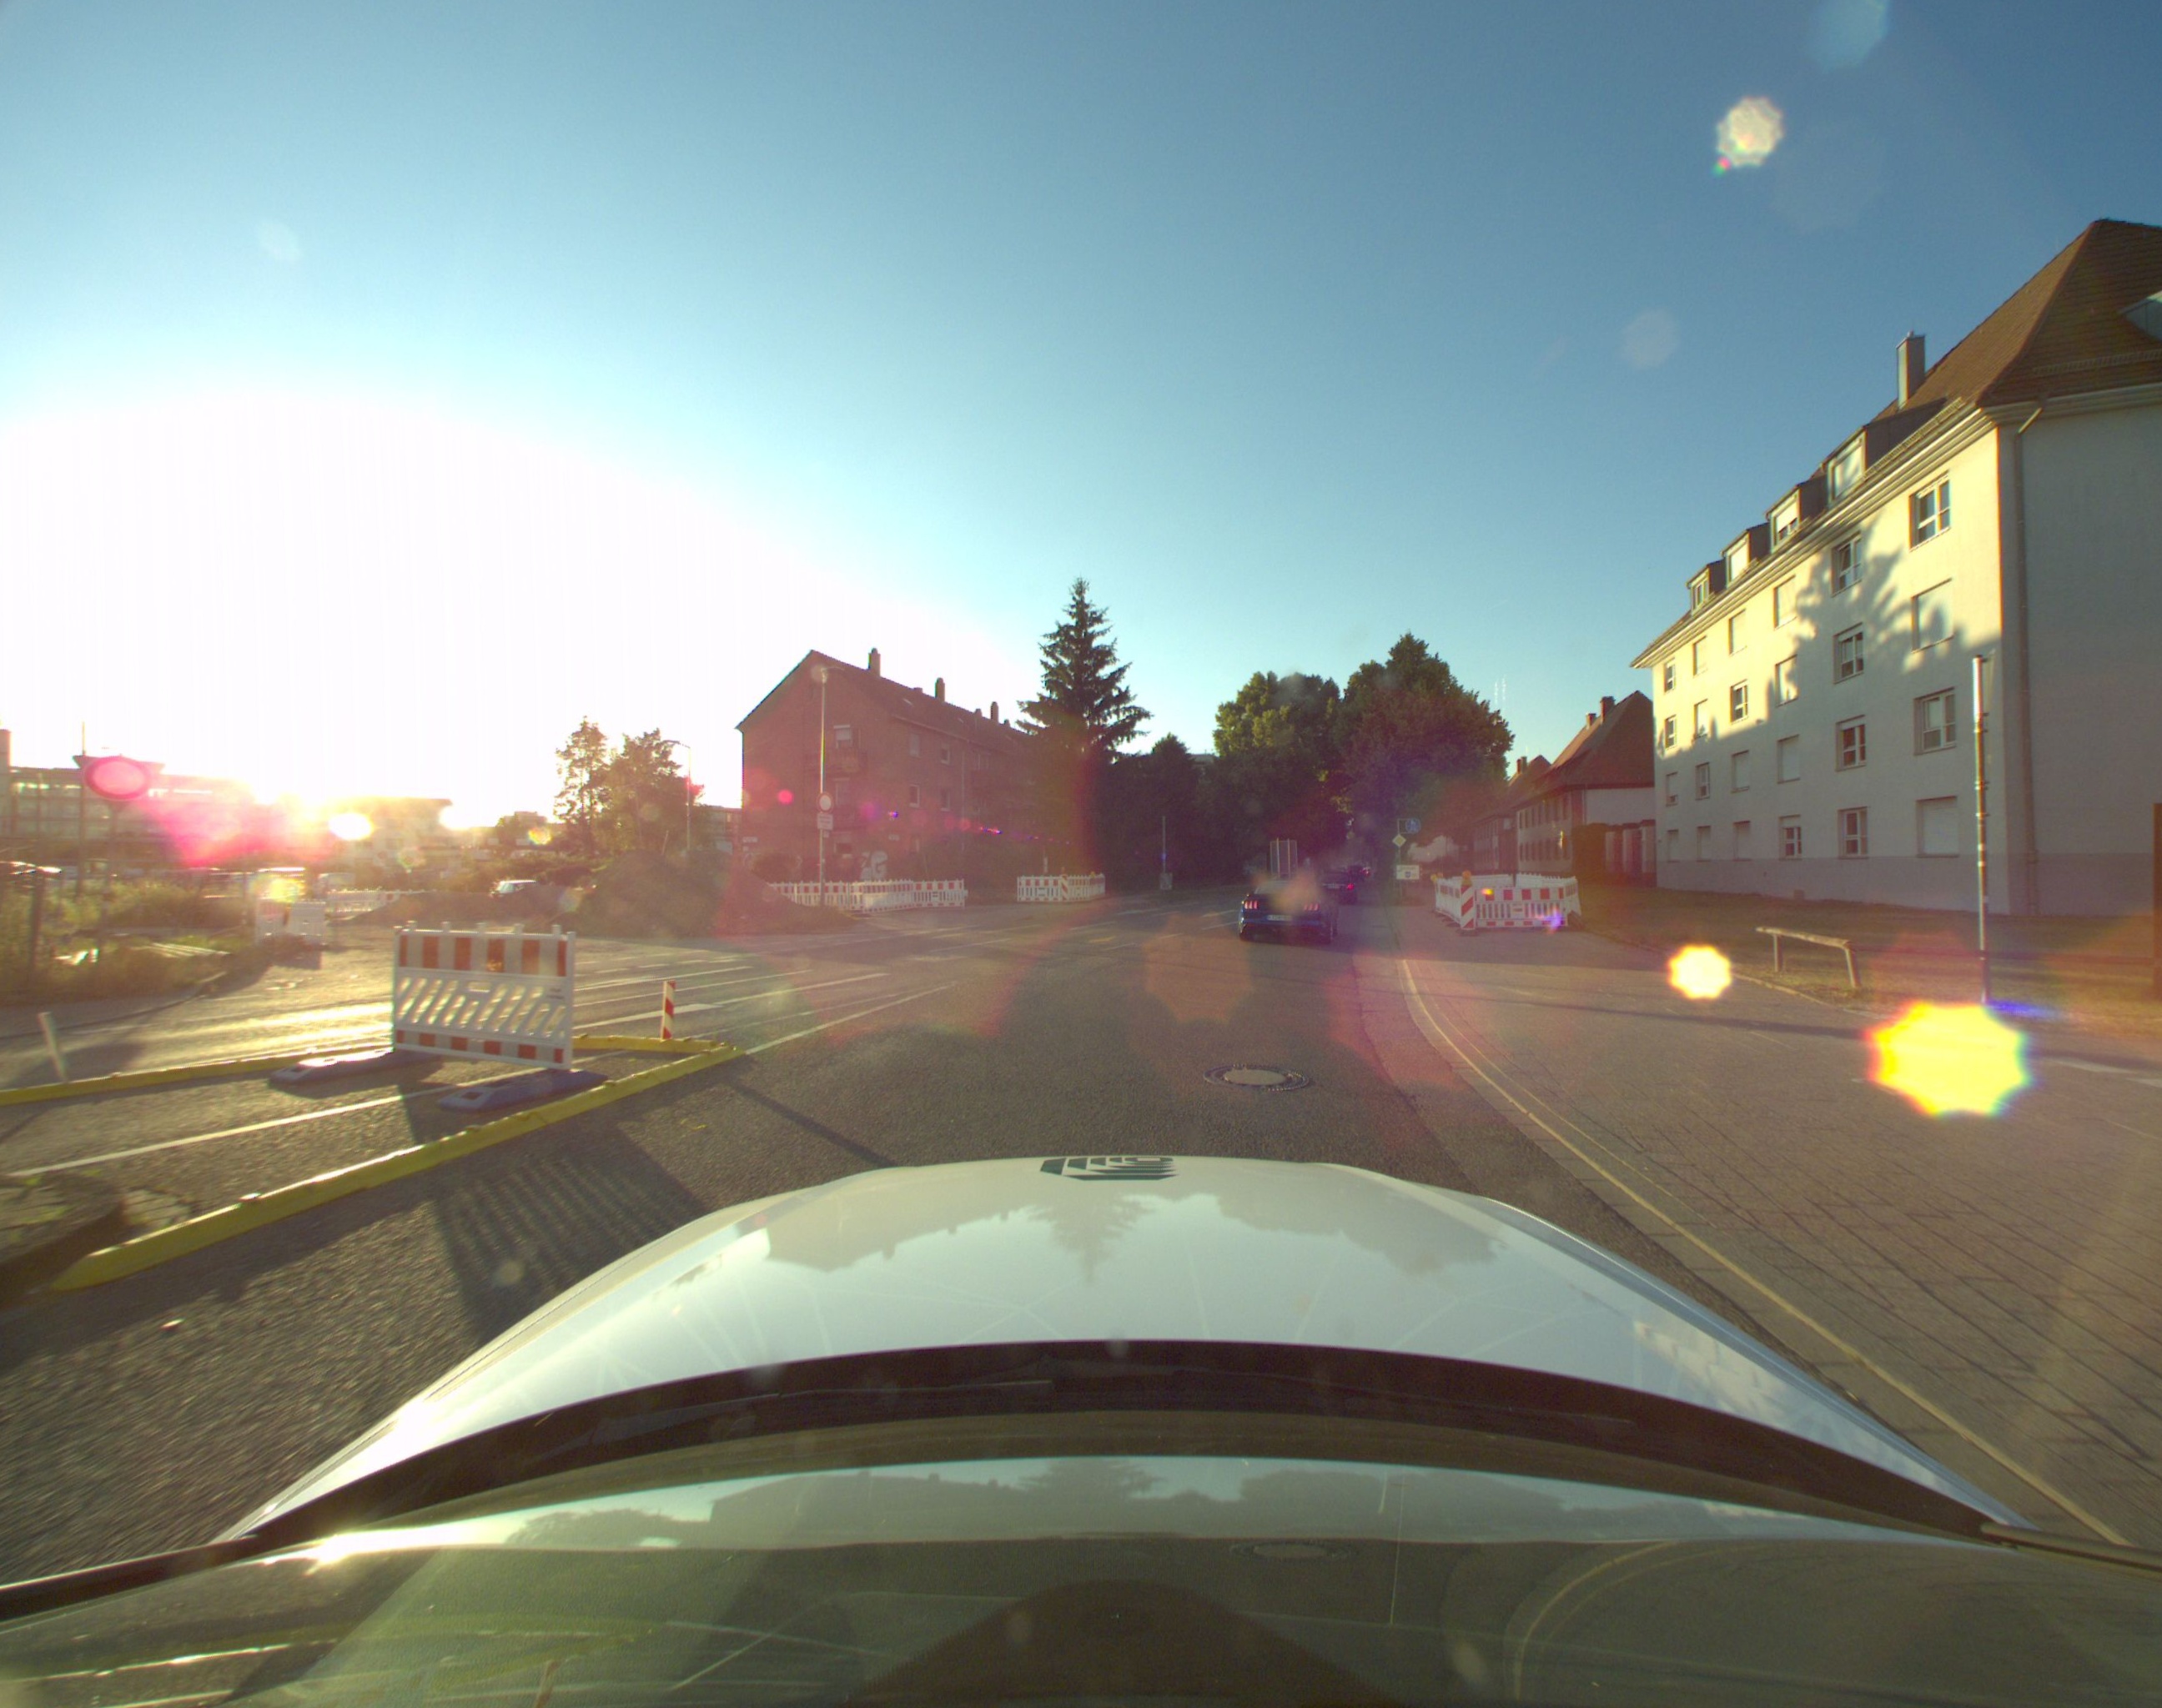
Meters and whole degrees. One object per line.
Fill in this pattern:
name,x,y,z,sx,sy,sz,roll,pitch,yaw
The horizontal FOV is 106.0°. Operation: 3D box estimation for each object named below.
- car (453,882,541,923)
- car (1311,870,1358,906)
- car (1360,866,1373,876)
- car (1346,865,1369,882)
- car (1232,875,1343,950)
car,-25.602,2.079,35.654,3.948,1.706,2.012,-2,-2,37
car,11.555,1.481,36.992,1.936,1.427,4.450,0,0,18
car,47.664,2.881,135.736,1.935,1.571,4.452,0,0,21
car,26.580,1.832,78.275,1.935,1.571,4.452,0,0,21
car,4.825,1.221,18.496,1.935,1.342,4.694,1,0,20
